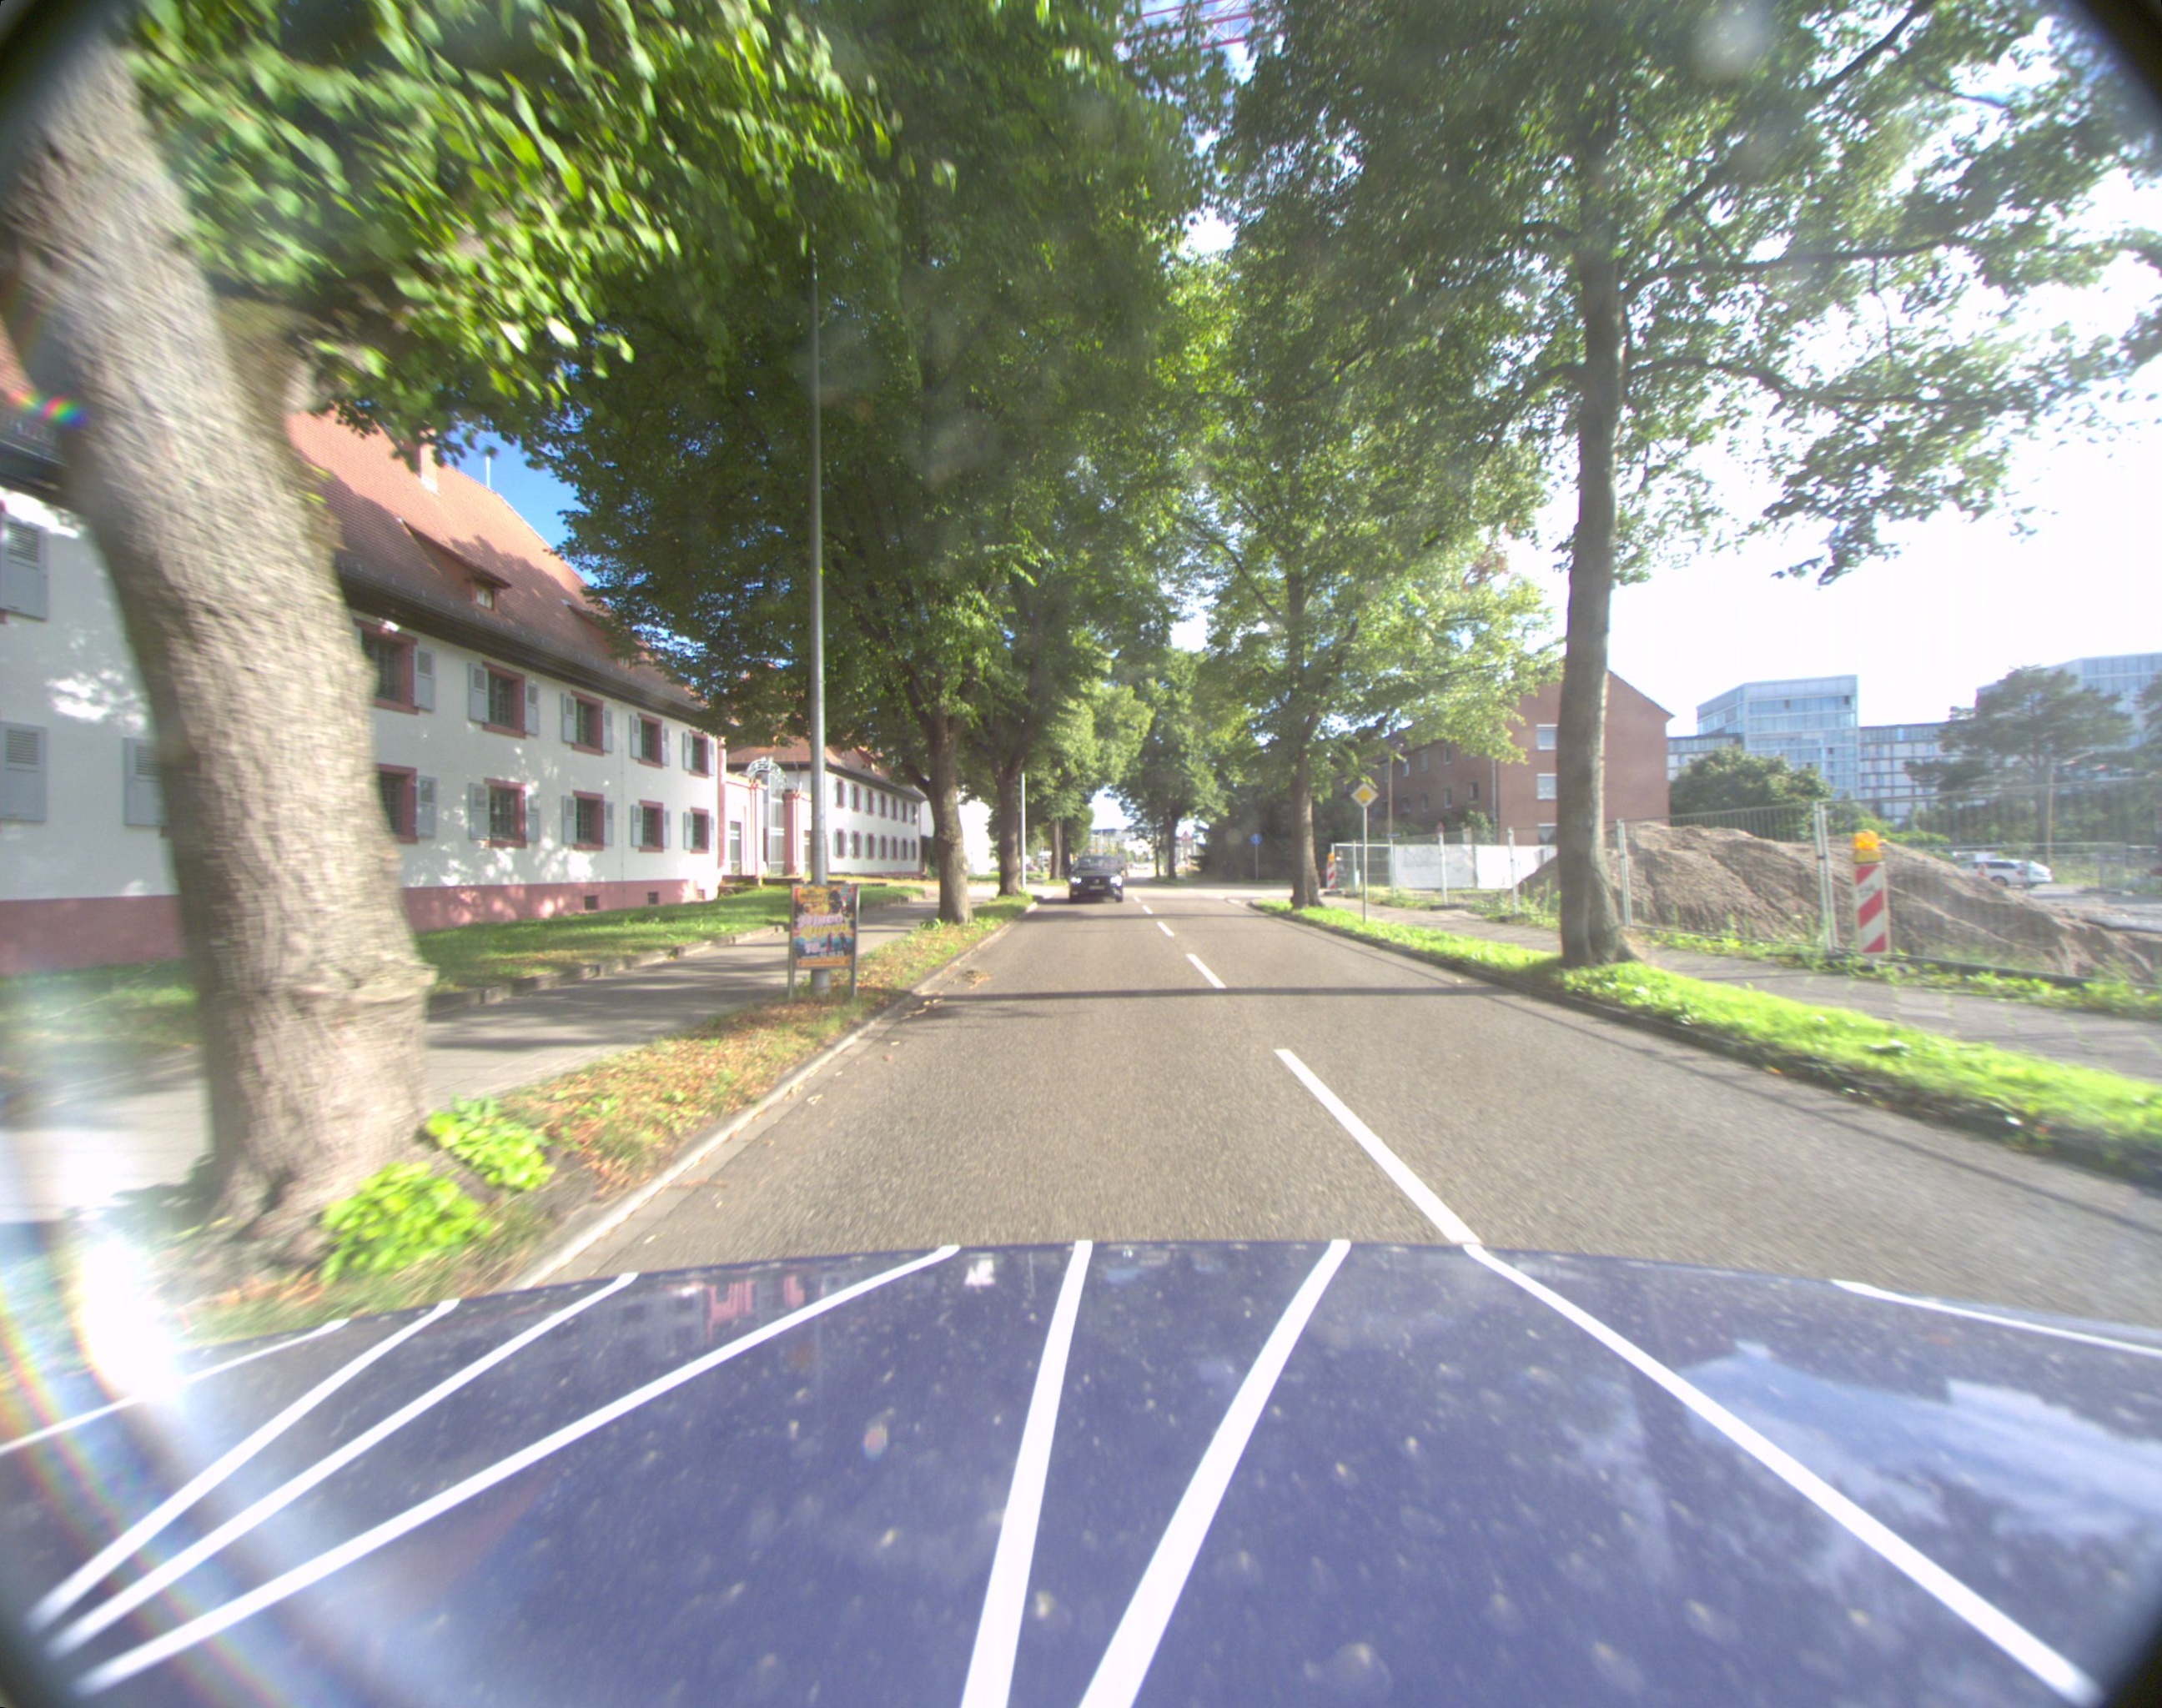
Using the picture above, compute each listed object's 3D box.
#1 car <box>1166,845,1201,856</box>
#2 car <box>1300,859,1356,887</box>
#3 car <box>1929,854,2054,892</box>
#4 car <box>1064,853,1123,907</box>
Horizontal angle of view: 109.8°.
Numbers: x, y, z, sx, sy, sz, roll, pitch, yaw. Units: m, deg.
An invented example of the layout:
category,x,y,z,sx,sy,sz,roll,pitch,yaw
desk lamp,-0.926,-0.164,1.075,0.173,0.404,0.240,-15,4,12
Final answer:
category,x,y,z,sx,sy,sz,roll,pitch,yaw
car,18.976,-0.681,141.394,2.482,1.856,6.235,-2,0,-42
car,14.216,1.049,43.923,1.998,1.420,4.508,0,1,3
car,48.770,0.957,40.817,1.817,1.797,3.982,-2,1,-4
car,0.495,0.853,26.055,1.821,1.648,4.244,-2,-1,3
